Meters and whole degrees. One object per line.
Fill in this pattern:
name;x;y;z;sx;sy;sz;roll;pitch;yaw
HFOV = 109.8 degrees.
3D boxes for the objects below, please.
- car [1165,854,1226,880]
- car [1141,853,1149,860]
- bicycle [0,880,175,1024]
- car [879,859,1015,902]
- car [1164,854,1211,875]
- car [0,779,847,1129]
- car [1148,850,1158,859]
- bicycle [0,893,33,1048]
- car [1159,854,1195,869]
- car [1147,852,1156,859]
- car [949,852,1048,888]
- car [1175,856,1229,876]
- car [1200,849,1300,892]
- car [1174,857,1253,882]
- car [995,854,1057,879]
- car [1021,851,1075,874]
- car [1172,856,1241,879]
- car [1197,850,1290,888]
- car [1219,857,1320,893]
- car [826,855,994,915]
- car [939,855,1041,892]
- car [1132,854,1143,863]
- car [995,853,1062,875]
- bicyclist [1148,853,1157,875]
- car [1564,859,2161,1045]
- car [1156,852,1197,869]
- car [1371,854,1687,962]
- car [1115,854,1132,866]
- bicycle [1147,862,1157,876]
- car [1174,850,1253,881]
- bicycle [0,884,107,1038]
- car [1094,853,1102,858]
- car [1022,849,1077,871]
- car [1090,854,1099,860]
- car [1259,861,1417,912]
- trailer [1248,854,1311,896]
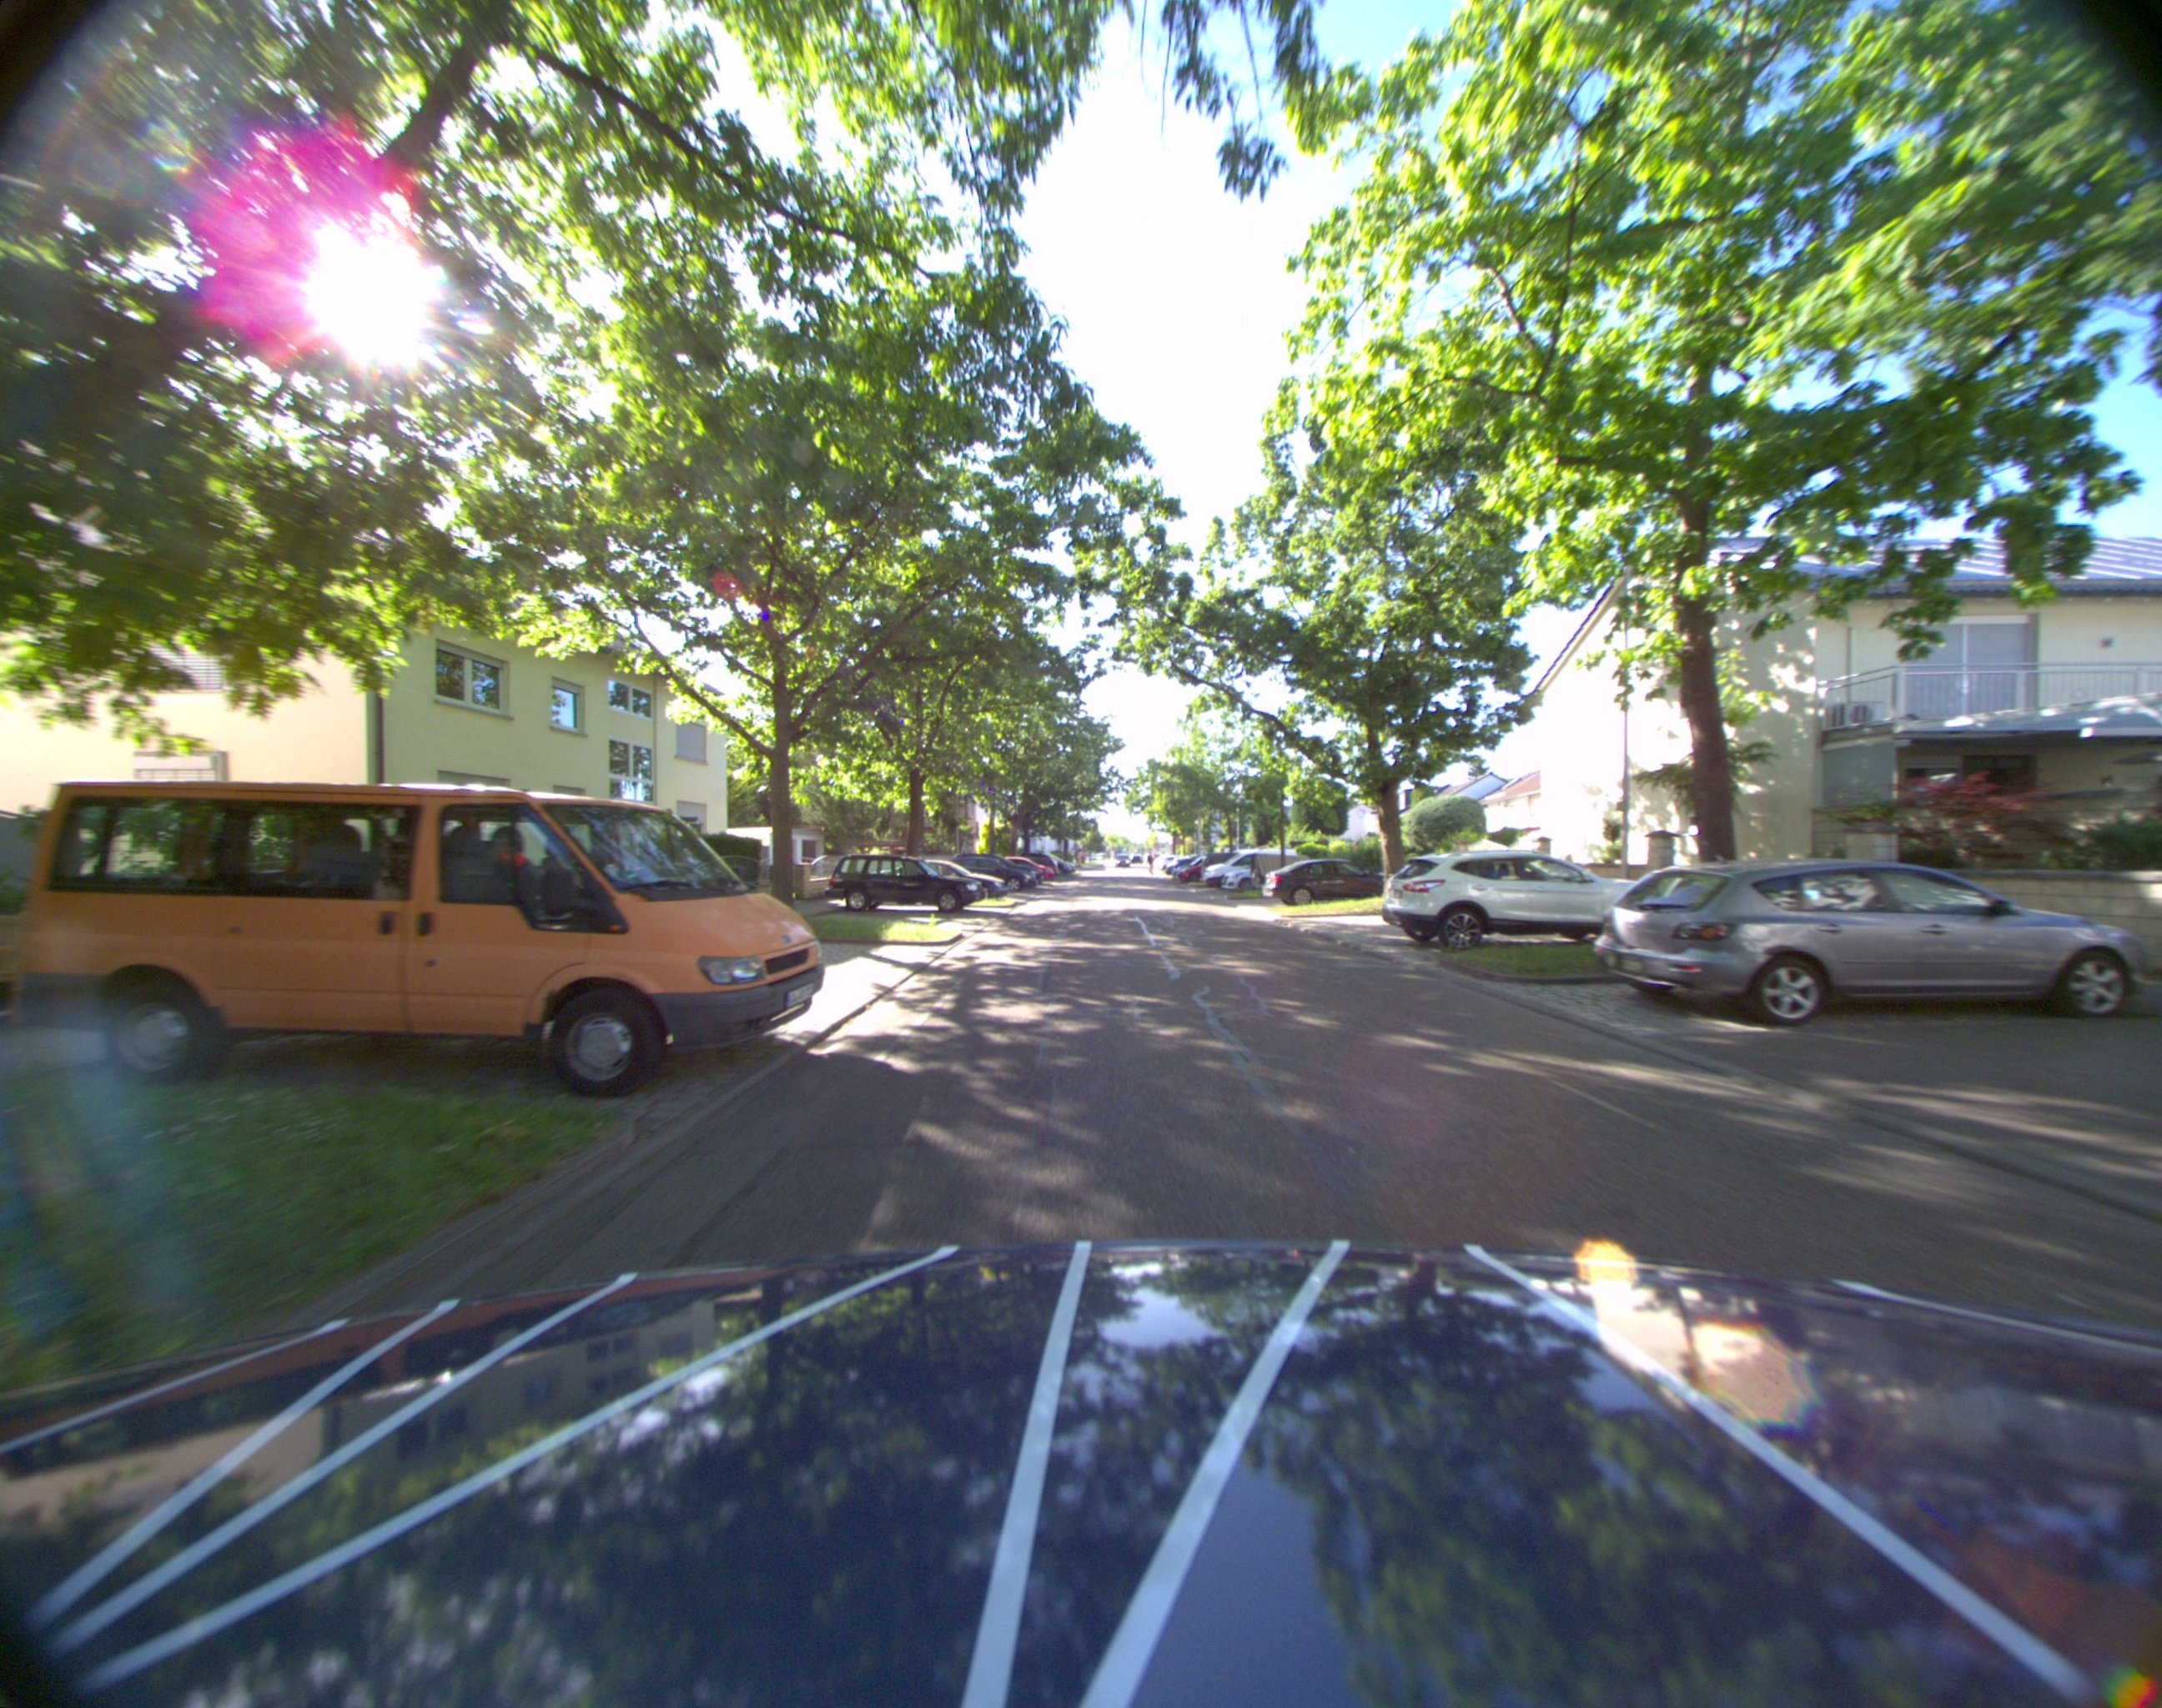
car;8.325;0.944;55.426;4.220;1.714;1.761;-2;0;2
car;15.345;0.560;181.722;1.877;1.470;3.851;0;1;5
bicycle;-10.108;0.877;7.058;2.865;1.230;0.468;1;2;1
car;-4.697;0.924;27.011;4.437;1.323;1.691;2;0;3
car;9.221;0.903;65.901;3.947;1.604;1.707;-2;0;4
car;-4.521;0.607;5.717;4.830;2.071;2.086;1;0;1
car;15.094;-0.006;158.299;1.764;1.470;3.851;10;3;6
bicycle;-10.089;0.913;6.074;2.865;1.230;0.468;1;1;1
car;9.794;0.745;77.877;3.523;1.487;1.708;0;0;1
car;13.826;0.253;148.420;1.764;1.390;3.852;0;0;6
car;-3.986;0.769;37.300;4.584;1.637;1.838;1;0;1
car;9.506;0.944;59.919;4.010;1.506;1.796;0;0;4
car;7.876;0.762;35.698;4.247;1.933;2.000;0;0;-1
car;7.895;0.908;45.573;4.487;1.491;1.837;0;0;3
car;-3.504;0.800;48.980;3.786;1.475;1.755;1;1;3
car;-2.663;0.660;62.482;4.221;1.771;1.789;2;1;3
car;8.376;0.901;50.945;4.282;1.416;1.723;-2;0;-1
car;8.197;0.720;38.518;4.249;1.760;1.967;-2;0;-1
car;8.155;0.906;33.076;3.998;1.507;1.690;0;0;-2
car;-4.809;0.858;21.802;4.349;1.551;1.867;1;0;0
car;-4.073;0.845;34.451;4.330;1.521;1.841;1;0;1
car;9.647;0.688;130.144;1.741;1.531;3.948;0;0;5
car;-3.651;0.698;53.680;4.513;1.437;1.838;1;0;3
bicyclist;5.612;0.758;59.798;0.597;1.664;0.975;2;1;2
car;7.358;0.852;7.467;4.044;1.415;1.810;-2;0;-1
car;10.037;0.666;79.949;3.964;1.565;1.921;-1;1;-4
car;7.316;0.854;12.757;4.197;1.558;1.792;-2;0;2
car;5.257;0.717;93.454;1.877;1.469;3.852;0;0;5
bicycle;5.595;1.175;59.764;0.598;1.052;1.986;2;0;2
car;8.318;0.726;48.094;4.684;1.758;1.795;-2;0;1
bicycle;-10.124;0.869;6.570;2.865;1.230;0.468;2;2;1
car;4.598;0.520;202.442;1.830;1.324;3.679;0;0;6
car;-2.691;0.511;65.540;4.513;1.670;1.879;2;1;2
car;3.215;0.675;186.553;1.944;1.412;4.001;0;0;5
car;7.661;0.954;22.952;4.219;1.463;1.691;0;0;4
trailer;7.995;0.844;30.749;2.240;1.664;1.475;0;0;5
